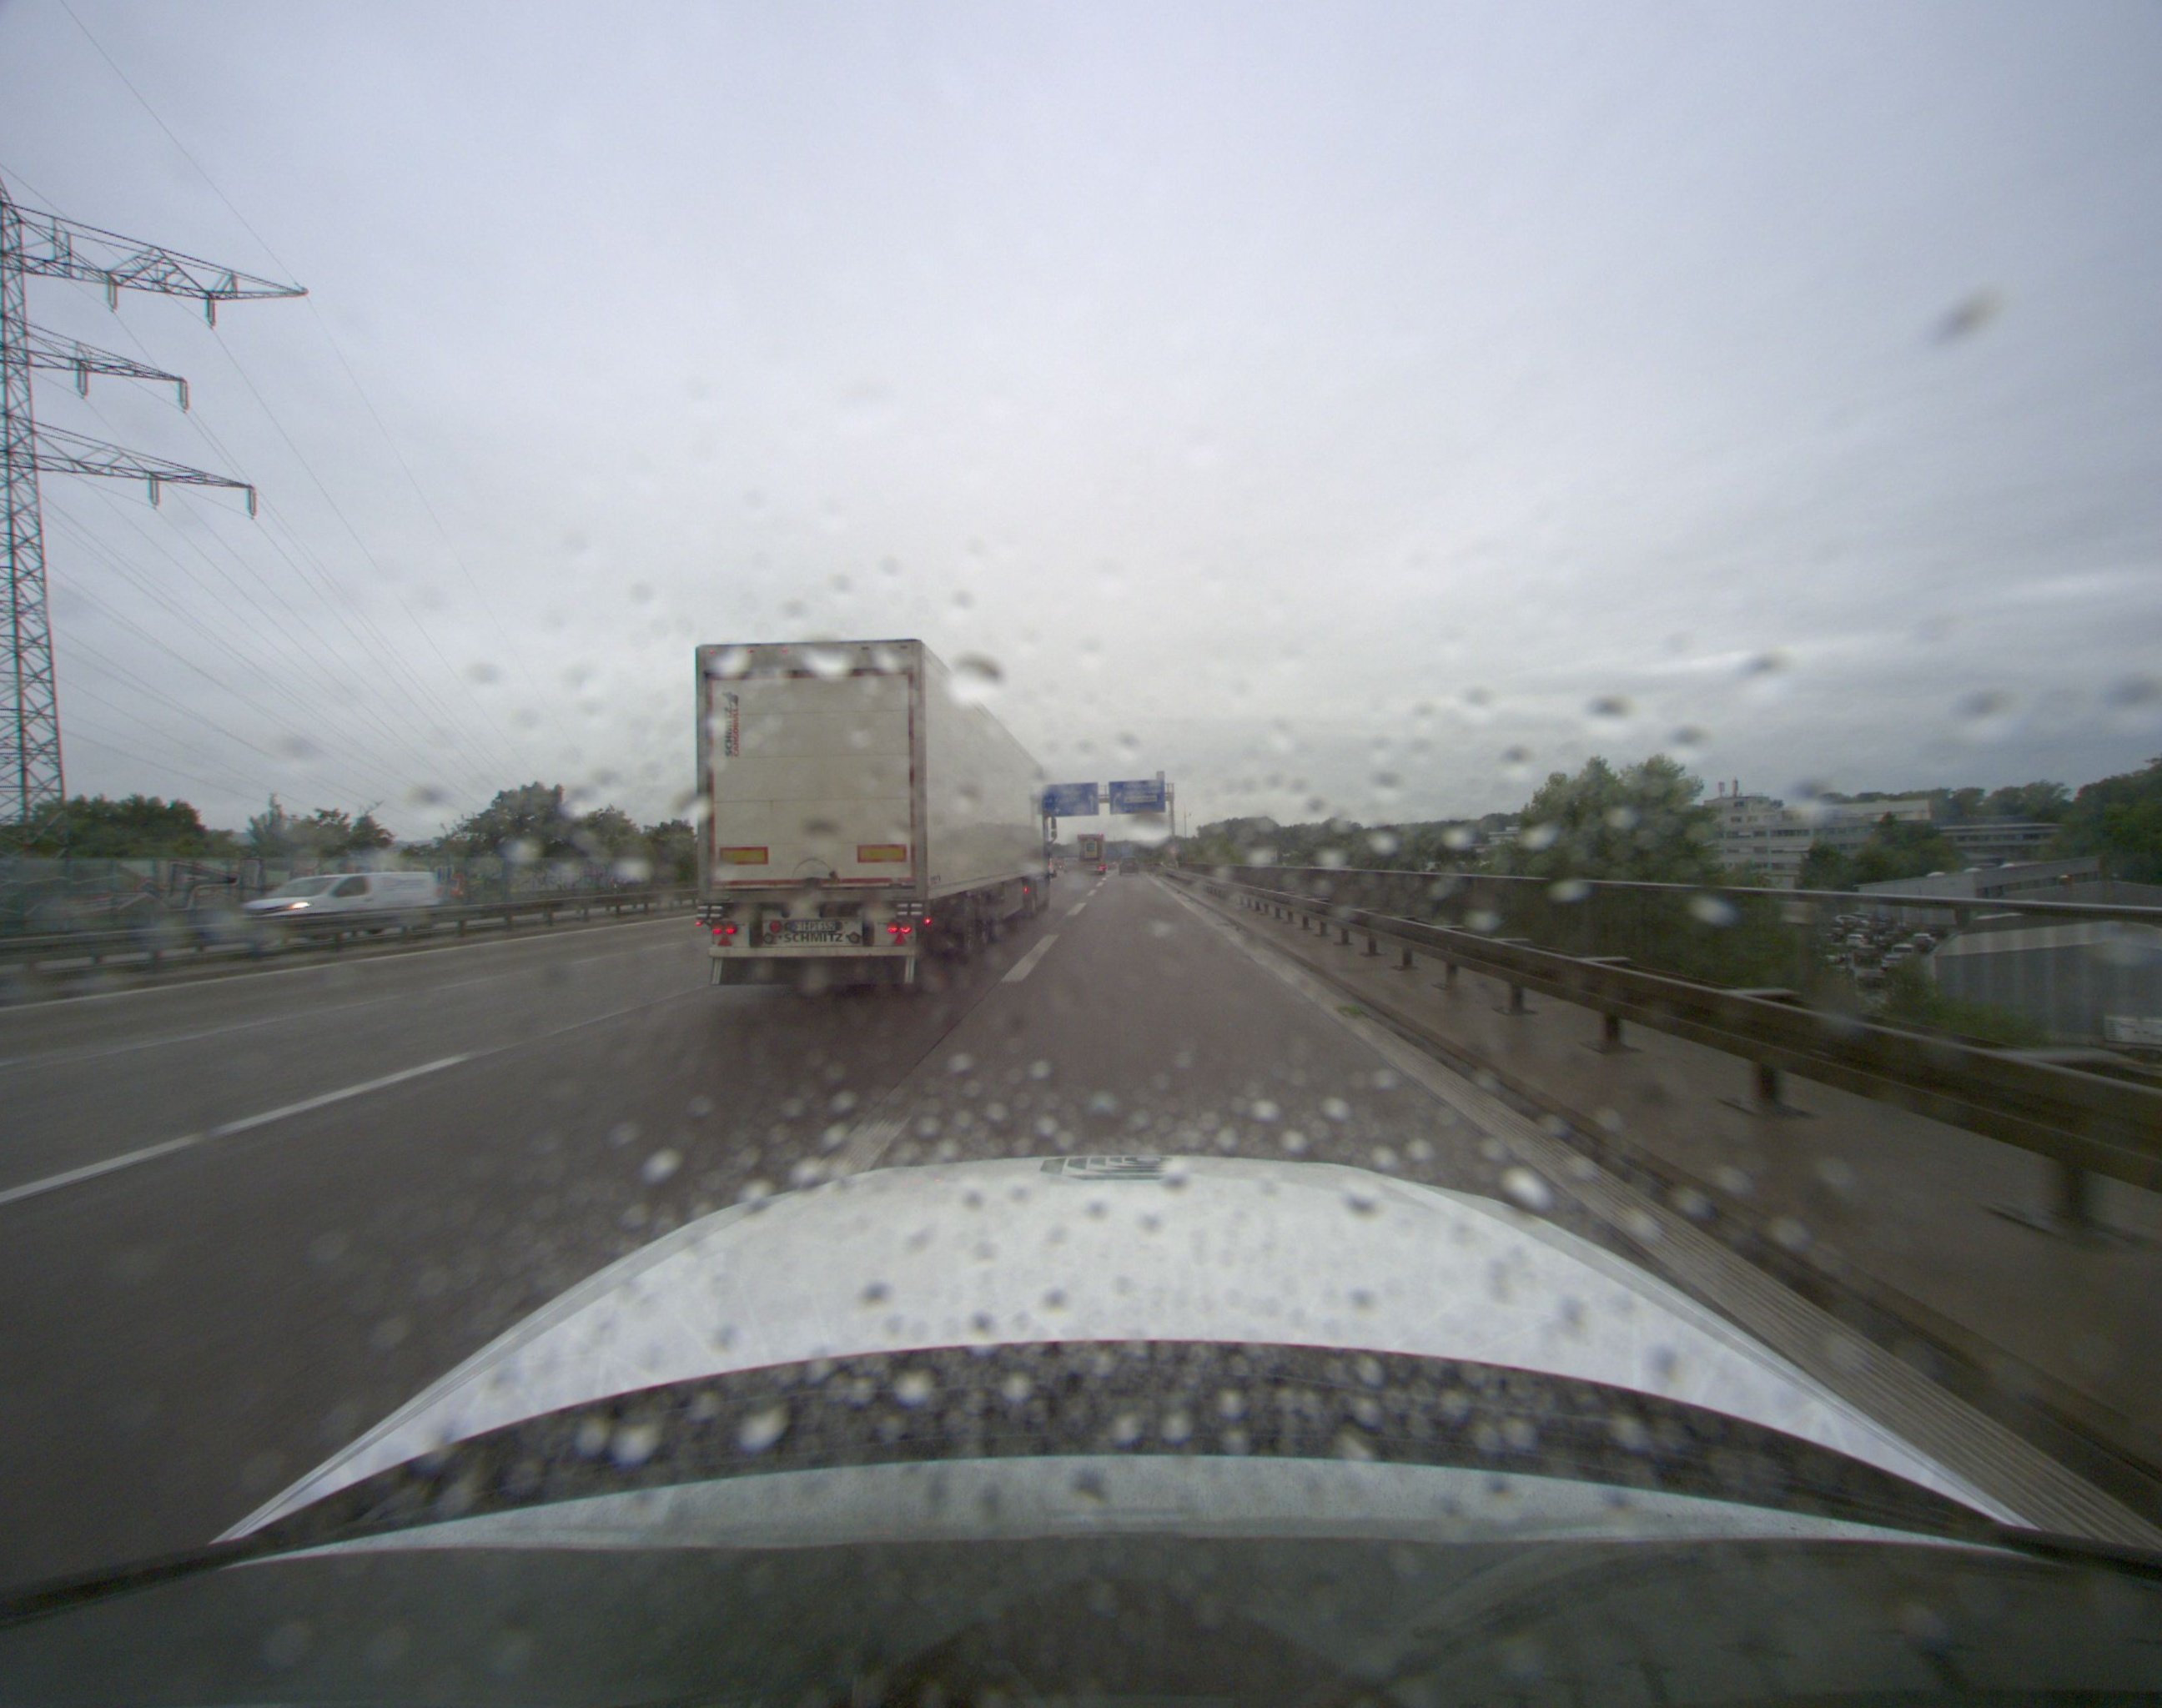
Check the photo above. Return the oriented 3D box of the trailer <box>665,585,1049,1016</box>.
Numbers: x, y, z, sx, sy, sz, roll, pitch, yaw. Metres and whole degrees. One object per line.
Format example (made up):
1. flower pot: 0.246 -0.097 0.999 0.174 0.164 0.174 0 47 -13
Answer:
1. trailer: -2.493 -0.492 15.335 2.333 4.157 14.837 -1 0 3

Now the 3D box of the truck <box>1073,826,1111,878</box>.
1. truck: 1.267 -0.144 84.948 3.519 5.183 9.899 0 -1 3

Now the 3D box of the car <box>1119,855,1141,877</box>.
1. car: 4.465 1.091 73.570 1.889 1.949 4.004 0 -1 4

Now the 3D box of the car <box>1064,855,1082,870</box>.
1. car: -1.029 1.107 104.353 2.040 1.949 4.003 0 -1 3

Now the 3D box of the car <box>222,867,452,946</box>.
1. car: -21.323 1.420 23.729 1.986 2.014 5.012 0 -1 1

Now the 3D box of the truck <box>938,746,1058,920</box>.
1. truck: -2.097 -0.493 22.776 2.333 4.157 6.351 -1 0 3

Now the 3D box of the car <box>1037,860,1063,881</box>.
1. car: -2.649 1.413 70.378 1.886 1.723 4.003 0 -1 3
